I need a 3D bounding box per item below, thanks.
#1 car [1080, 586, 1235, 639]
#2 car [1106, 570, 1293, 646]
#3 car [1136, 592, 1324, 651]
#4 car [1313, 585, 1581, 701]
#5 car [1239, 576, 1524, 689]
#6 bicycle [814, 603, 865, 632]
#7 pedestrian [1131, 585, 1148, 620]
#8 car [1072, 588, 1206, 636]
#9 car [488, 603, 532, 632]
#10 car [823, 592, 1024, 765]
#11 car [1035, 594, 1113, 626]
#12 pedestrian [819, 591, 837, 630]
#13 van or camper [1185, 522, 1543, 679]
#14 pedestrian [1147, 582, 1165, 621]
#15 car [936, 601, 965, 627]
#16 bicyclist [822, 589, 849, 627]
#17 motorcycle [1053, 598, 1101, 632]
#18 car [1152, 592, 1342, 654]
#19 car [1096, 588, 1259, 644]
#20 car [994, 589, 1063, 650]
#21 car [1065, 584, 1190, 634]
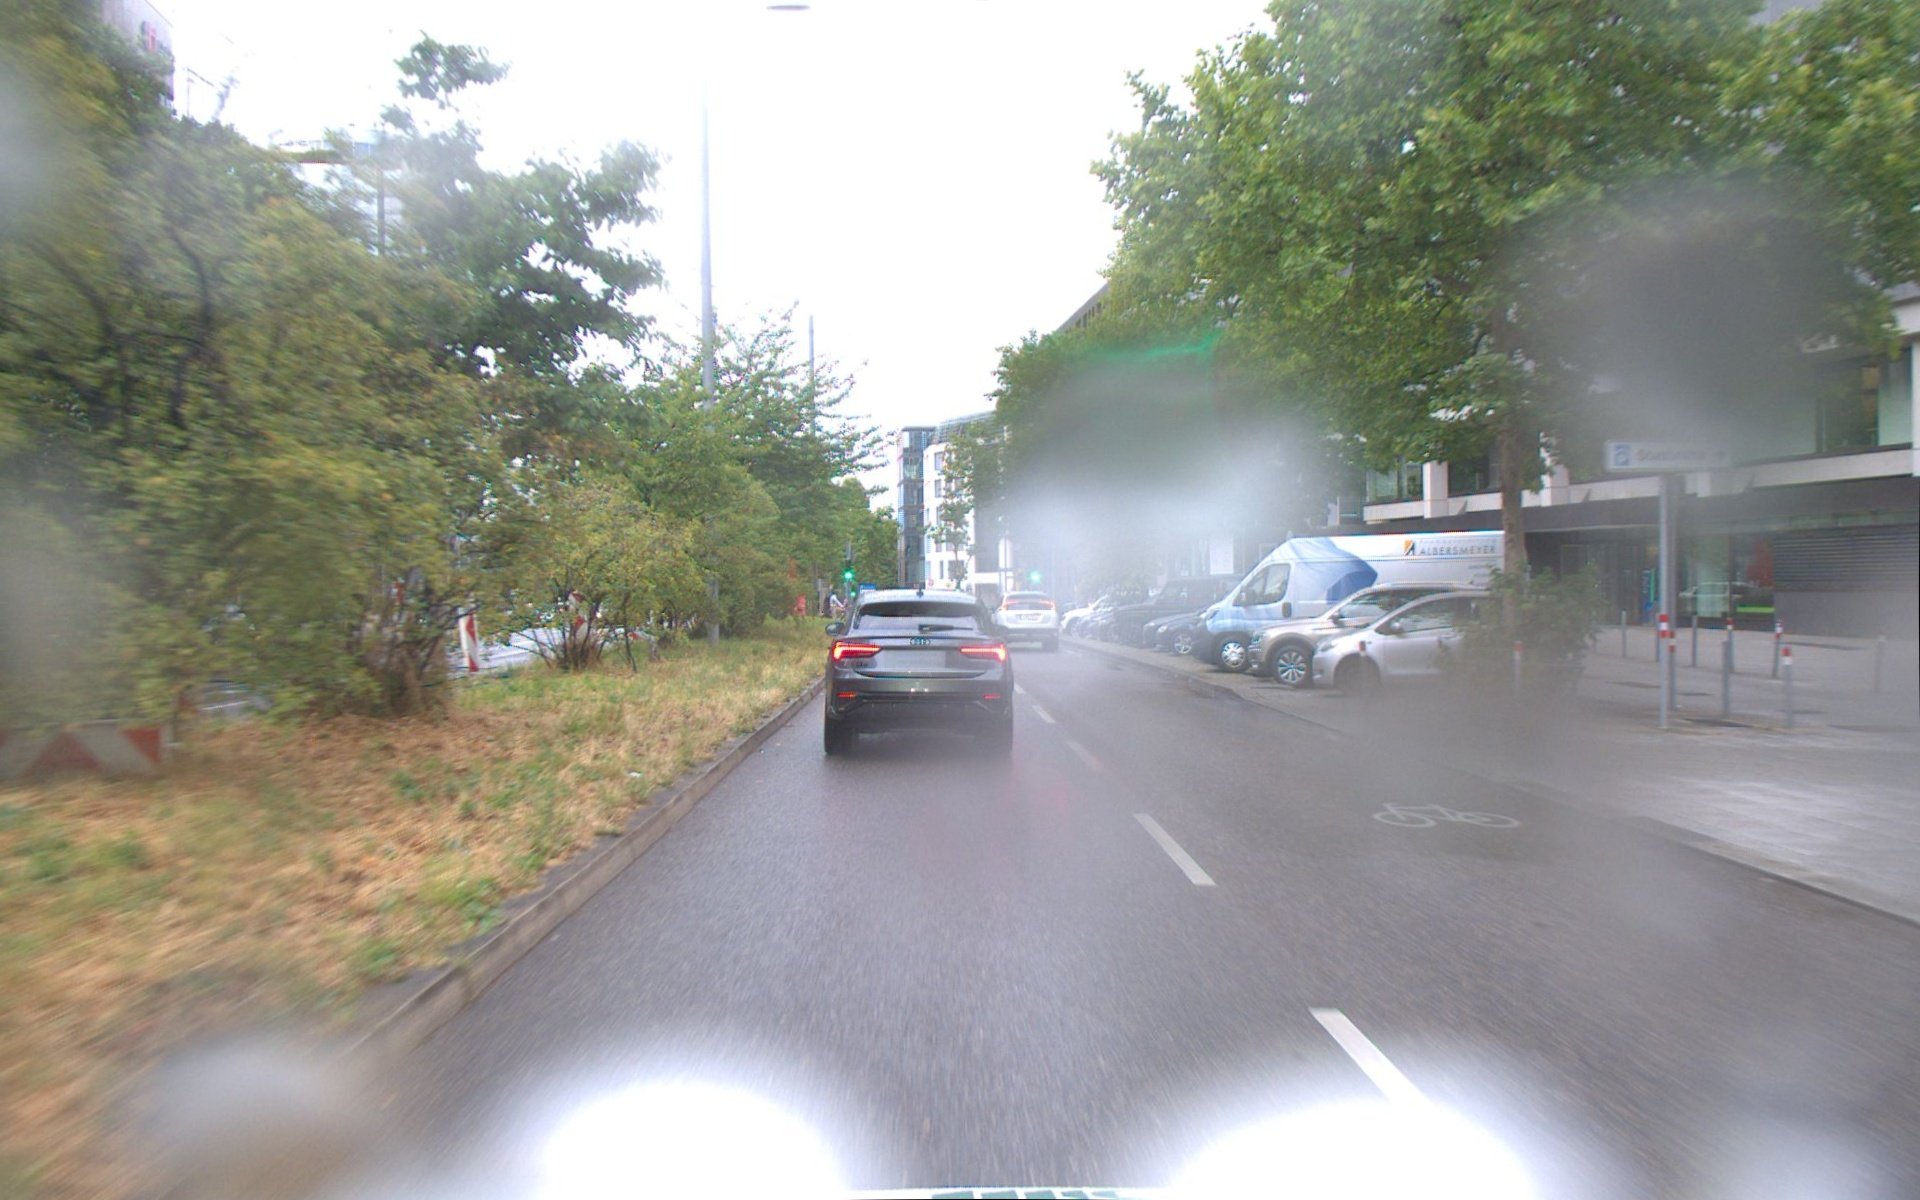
[{"bbox_3d":[6.314,0.392,52.667,4.673,1.560,1.871,-2,0,14],"label":"car"},{"bbox_3d":[6.744,0.233,46.575,4.839,2.013,1.928,-2,0,25],"label":"car"},{"bbox_3d":[7.082,0.573,43.469,4.533,1.419,1.845,-2,-1,28],"label":"car"},{"bbox_3d":[7.001,0.574,23.840,3.572,1.574,1.715,0,0,19],"label":"car"},{"bbox_3d":[6.772,0.487,26.586,4.172,1.696,1.817,0,0,26],"label":"car"},{"bbox_3d":[-5.363,0.782,73.749,2.209,1.182,0.750,2,-1,-2],"label":"bicycle"},{"bbox_3d":[10.192,0.149,93.855,0.848,1.937,0.886,0,-1,11],"label":"pedestrian"},{"bbox_3d":[6.199,0.420,57.361,4.212,1.515,1.840,-1,0,29],"label":"car"},{"bbox_3d":[-25.163,0.981,92.529,1.840,1.563,4.069,-2,-1,-8],"label":"car"},{"bbox_3d":[-0.362,0.698,16.929,1.812,1.550,4.038,0,0,-1],"label":"car"},{"bbox_3d":[5.831,0.521,84.788,3.794,1.595,1.658,0,-1,41],"label":"car"},{"bbox_3d":[-6.260,0.511,78.206,0.647,1.825,0.751,0,-1,12],"label":"pedestrian"},{"bbox_3d":[7.213,0.030,29.723,5.947,2.603,2.102,-1,0,27],"label":"van or camper"},{"bbox_3d":[11.106,0.084,93.756,0.916,2.152,1.076,0,-1,11],"label":"pedestrian"},{"bbox_3d":[-0.596,0.869,104.019,1.812,1.550,4.038,0,0,0],"label":"car"},{"bbox_3d":[-5.548,0.345,73.755,1.082,1.650,0.750,3,-1,-1],"label":"bicyclist"},{"bbox_3d":[4.986,0.641,70.376,1.985,1.440,0.726,0,-1,8],"label":"motorcycle"},{"bbox_3d":[7.034,0.553,40.550,4.278,1.461,1.760,0,0,26],"label":"car"},{"bbox_3d":[6.512,0.481,49.485,4.462,1.533,1.868,-2,0,24],"label":"car"},{"bbox_3d":[1.932,0.551,47.877,1.812,1.698,4.038,0,0,0],"label":"car"},{"bbox_3d":[6.099,0.329,60.324,4.134,1.698,1.837,-2,0,27],"label":"car"}]
